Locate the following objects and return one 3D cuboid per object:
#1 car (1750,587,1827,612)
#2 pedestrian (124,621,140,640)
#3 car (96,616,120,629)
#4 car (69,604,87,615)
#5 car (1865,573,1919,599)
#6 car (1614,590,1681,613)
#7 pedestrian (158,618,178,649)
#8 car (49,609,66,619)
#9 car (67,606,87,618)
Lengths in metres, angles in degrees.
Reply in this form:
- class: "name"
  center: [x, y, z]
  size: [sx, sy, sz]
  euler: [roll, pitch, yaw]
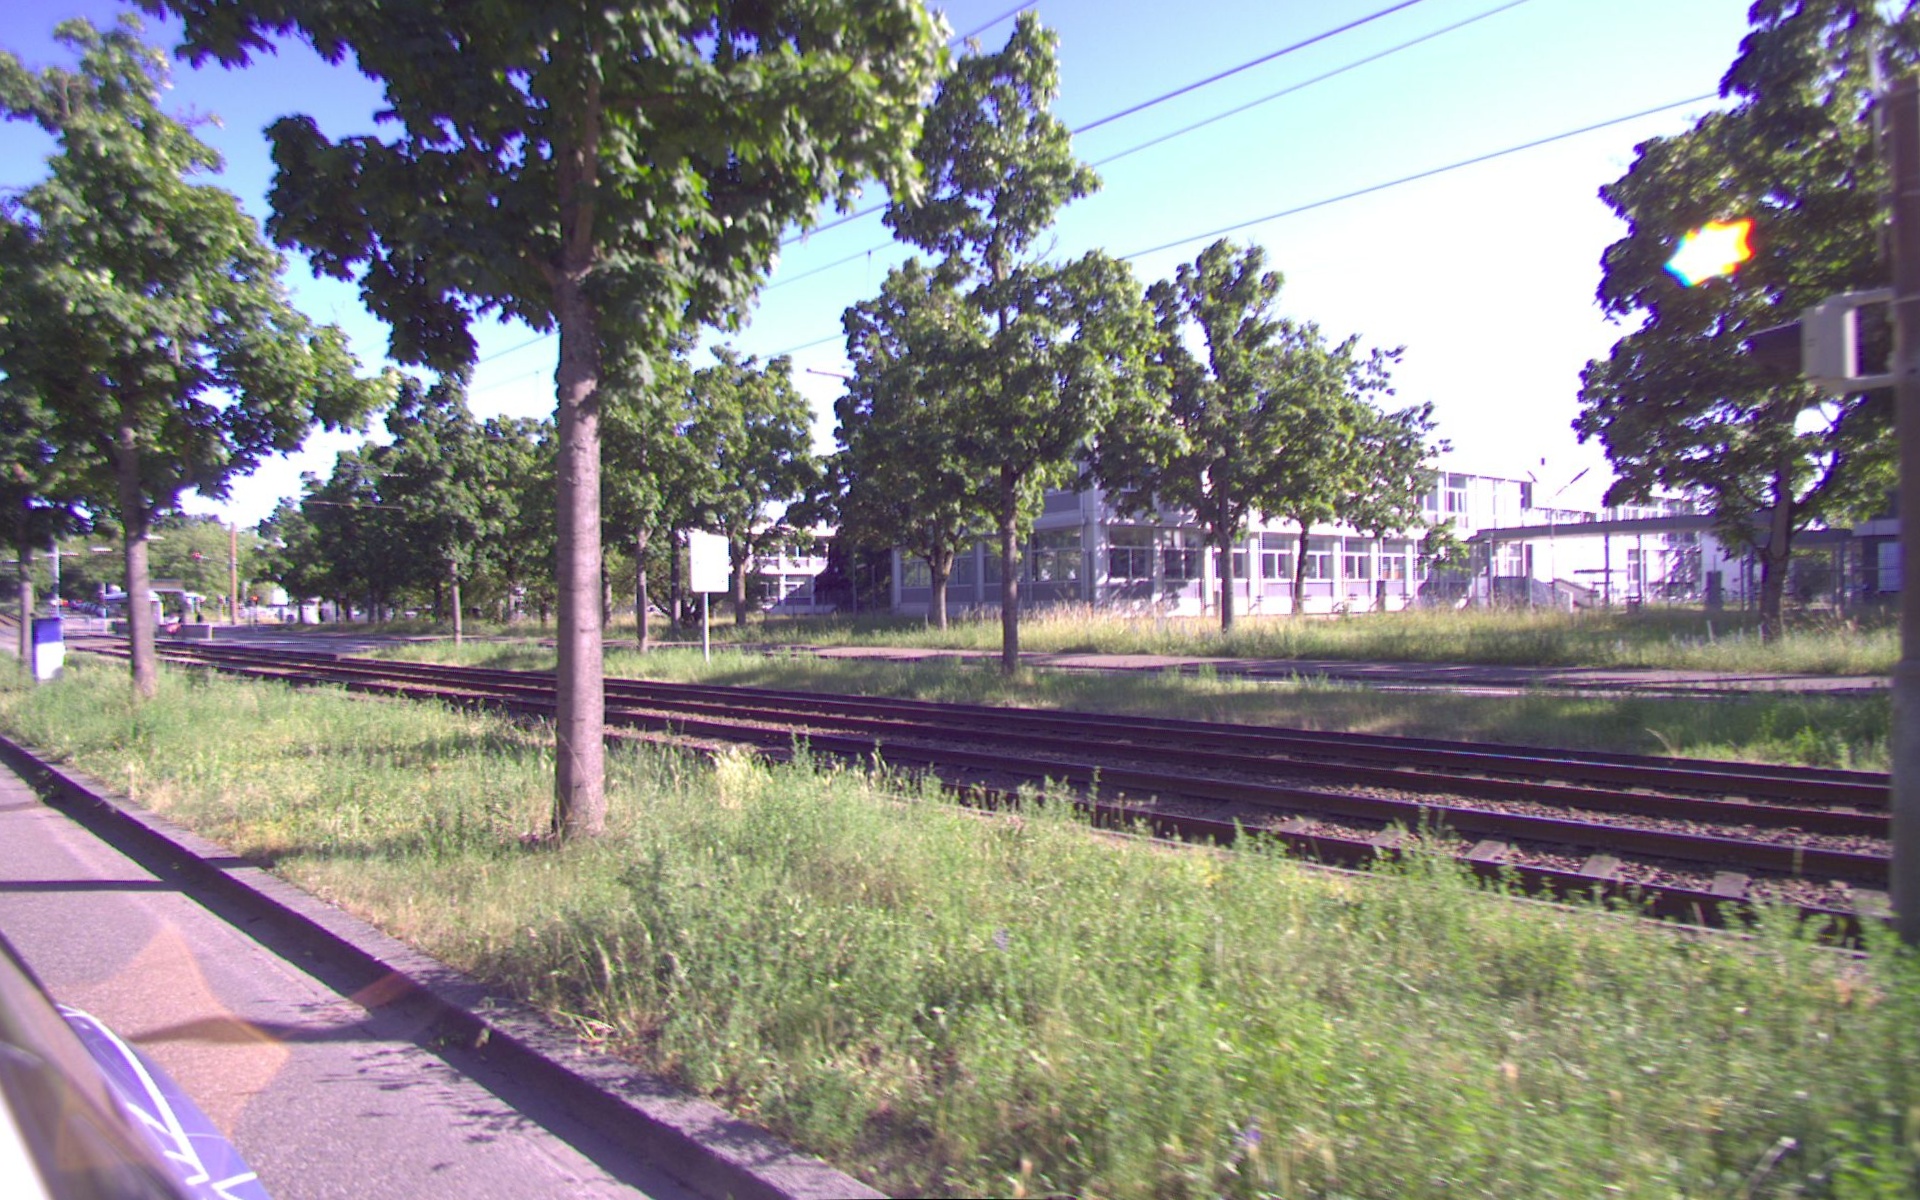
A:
- class: "car"
  center: [45.657, -0.049, 55.746]
  size: [4.472, 1.276, 1.853]
  euler: [-1, 0, -31]
- class: "pedestrian"
  center: [-56.218, 2.084, 68.717]
  size: [0.679, 1.258, 0.643]
  euler: [-1, -3, 34]
- class: "car"
  center: [-108.692, 2.880, 129.091]
  size: [3.455, 1.597, 1.749]
  euler: [-1, -1, 41]
- class: "car"
  center: [-136.031, 1.485, 156.065]
  size: [3.455, 1.597, 1.679]
  euler: [-1, -1, 41]
- class: "car"
  center: [56.092, -0.840, 60.387]
  size: [4.472, 1.505, 1.853]
  euler: [-1, 0, -31]
- class: "car"
  center: [40.683, 0.071, 59.860]
  size: [4.153, 1.252, 1.636]
  euler: [-1, 0, -31]
- class: "pedestrian"
  center: [-45.783, 1.932, 58.512]
  size: [0.781, 1.765, 0.775]
  euler: [-1, 0, 41]
- class: "car"
  center: [-151.676, 2.359, 170.066]
  size: [3.455, 1.597, 1.679]
  euler: [-1, -1, 41]
- class: "car"
  center: [-128.482, 1.752, 147.255]
  size: [3.455, 1.597, 1.679]
  euler: [-1, -1, 41]
